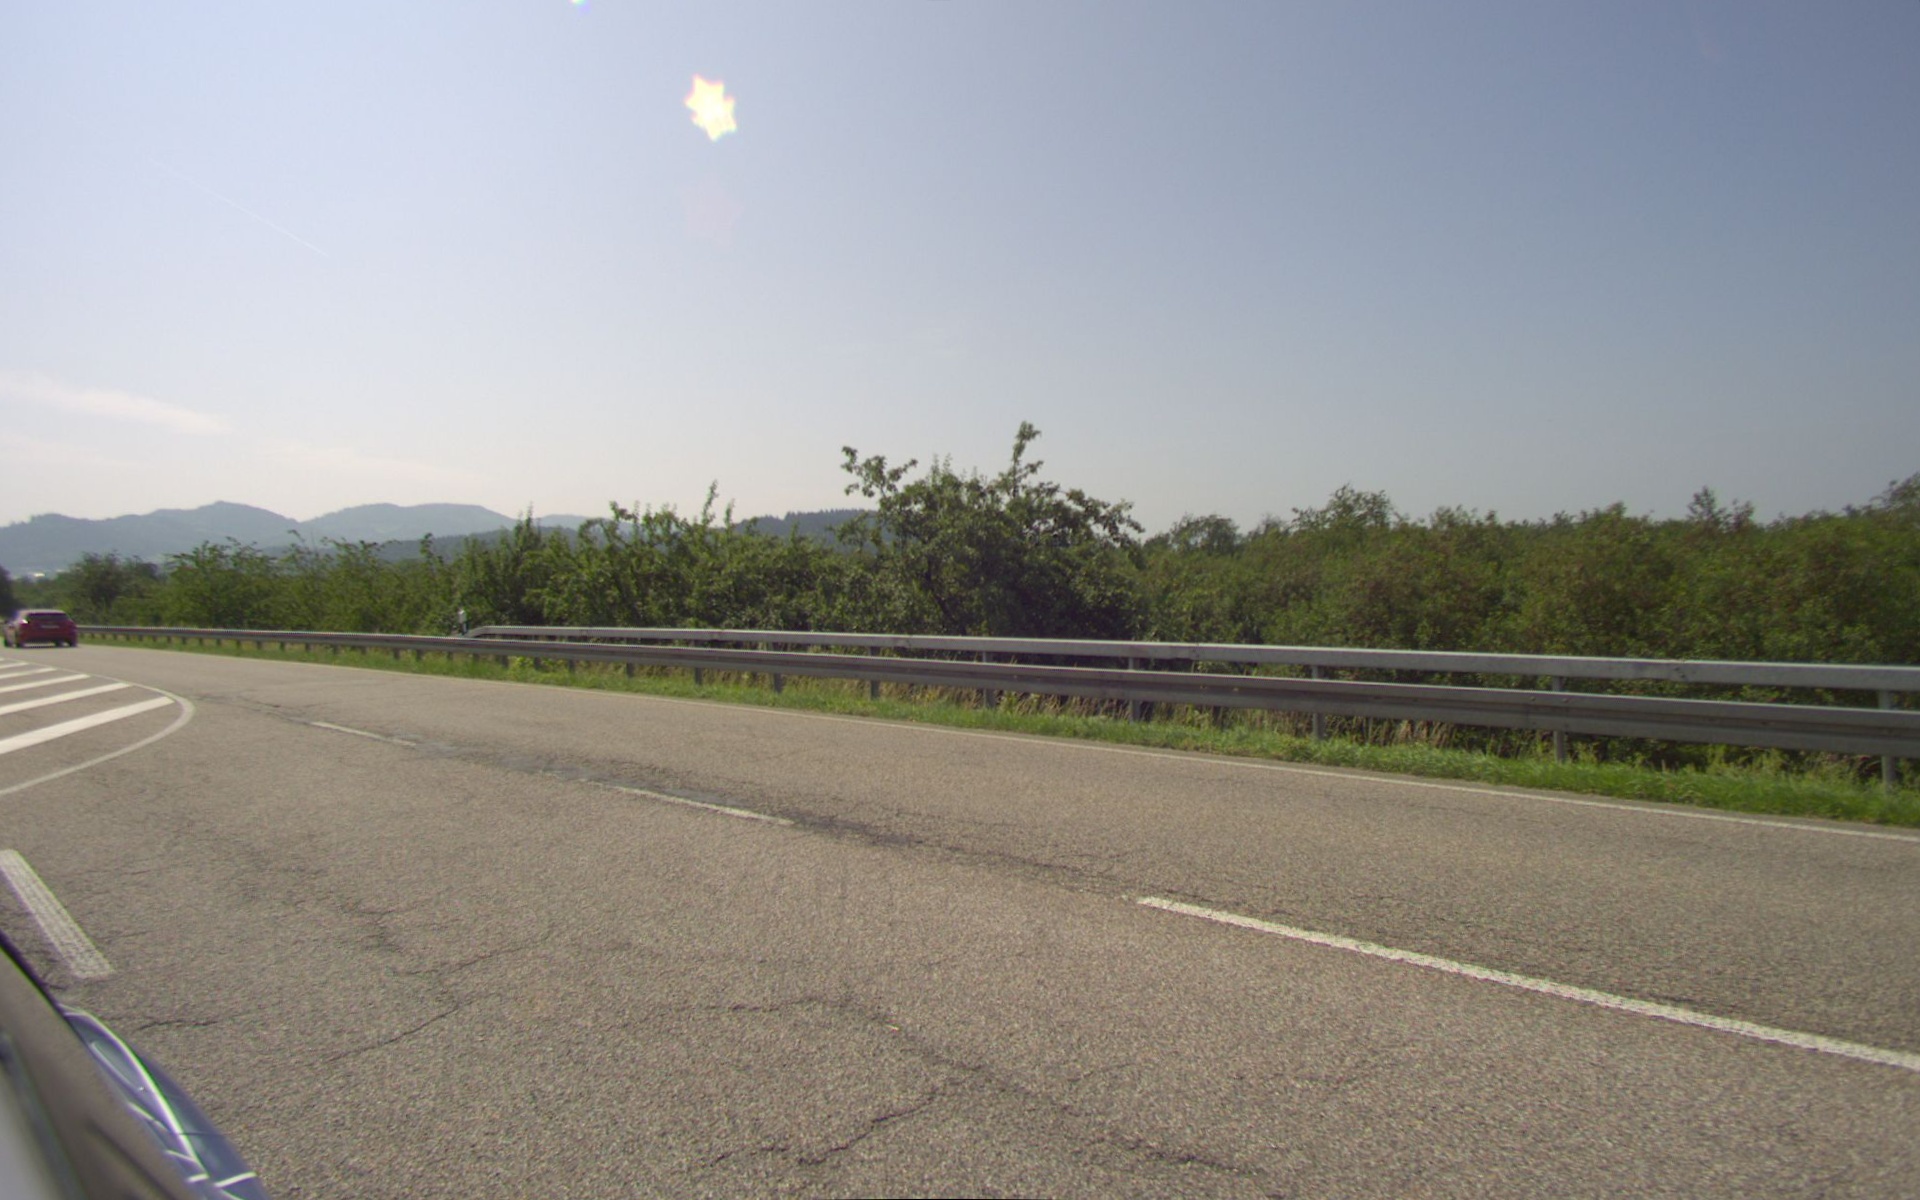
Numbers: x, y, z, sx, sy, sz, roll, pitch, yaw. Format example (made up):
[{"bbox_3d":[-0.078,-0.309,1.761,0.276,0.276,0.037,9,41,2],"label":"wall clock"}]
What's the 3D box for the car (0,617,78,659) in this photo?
[{"bbox_3d":[-35.634,1.411,38.968,4.491,1.460,1.798,0,1,40],"label":"car"}]
